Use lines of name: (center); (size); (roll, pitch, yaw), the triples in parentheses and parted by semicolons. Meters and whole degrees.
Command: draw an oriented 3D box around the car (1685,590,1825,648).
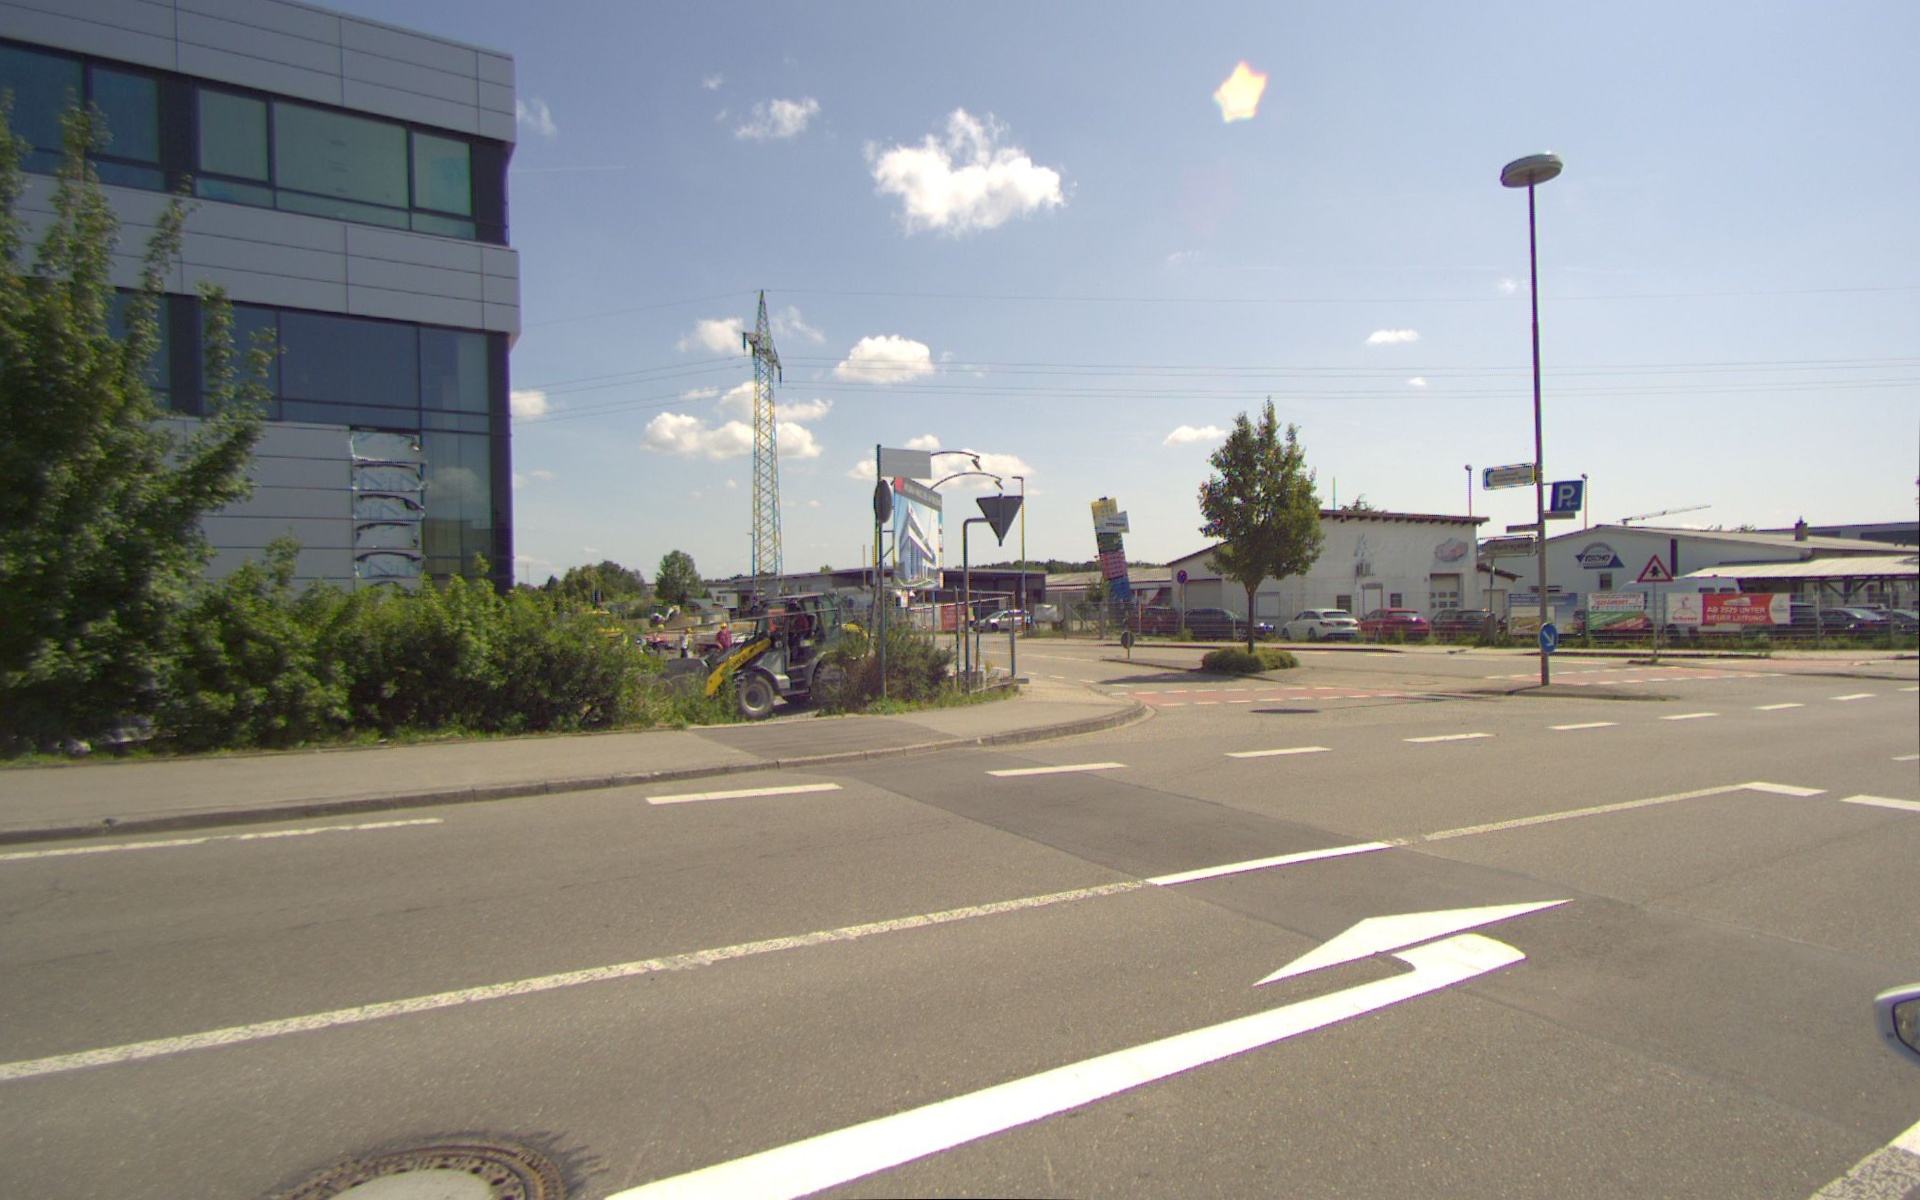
car: (28.673, 0.646, 36.400); (1.960, 1.929, 4.000); (-1, 1, 1)

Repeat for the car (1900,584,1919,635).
car: (38.247, 0.373, 37.711); (1.964, 1.929, 3.993); (-1, 1, -9)

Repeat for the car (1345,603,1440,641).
car: (16.734, 0.827, 39.077); (1.960, 1.394, 4.000); (1, 0, 0)

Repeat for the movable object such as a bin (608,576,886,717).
movable object such as a bin: (-4.518, 1.002, 22.094); (5.695, 2.734, 2.054); (3, -2, -42)

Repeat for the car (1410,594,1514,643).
car: (18.921, 0.660, 38.066); (1.960, 1.676, 4.000); (-1, 1, 0)

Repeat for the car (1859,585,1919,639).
car: (35.954, 0.431, 36.948); (1.963, 1.929, 3.995); (-1, 1, -7)

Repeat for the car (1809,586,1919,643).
car: (33.768, 0.480, 36.727); (1.962, 1.929, 3.997); (-1, 1, -4)

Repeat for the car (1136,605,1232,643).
car: (10.016, 1.035, 45.211); (1.979, 1.534, 3.963); (-2, 1, -33)

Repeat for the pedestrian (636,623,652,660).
pedestrian: (-13.241, 1.739, 42.096); (0.408, 1.539, 0.525); (0, 0, 35)

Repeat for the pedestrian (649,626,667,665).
pedestrian: (-12.329, 1.848, 41.036); (0.560, 1.539, 0.468); (0, 0, 35)

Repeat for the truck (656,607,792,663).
truck: (-10.894, 1.545, 46.865); (2.469, 2.217, 6.087); (0, 1, 35)

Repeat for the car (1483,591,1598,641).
car: (21.473, 0.541, 37.350); (1.960, 1.702, 4.000); (-1, 1, 0)

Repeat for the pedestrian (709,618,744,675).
pedestrian: (-7.949, 1.573, 34.216); (0.994, 1.878, 0.829); (0, 0, -26)

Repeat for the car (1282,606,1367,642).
car: (14.502, 0.921, 40.206); (1.693, 1.356, 3.929); (1, 0, -5)

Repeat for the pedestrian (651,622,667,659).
pedestrian: (-12.836, 1.727, 42.817); (0.408, 1.539, 0.525); (0, 0, 35)

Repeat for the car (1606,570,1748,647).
car: (26.109, 0.298, 36.787); (1.961, 2.643, 4.364); (1, 0, -2)

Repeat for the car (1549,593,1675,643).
car: (23.834, 0.604, 36.895); (1.961, 1.676, 3.999); (-1, 1, -1)

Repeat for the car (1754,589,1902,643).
car: (31.233, 0.524, 36.313); (1.960, 1.805, 4.000); (-1, 1, 1)
